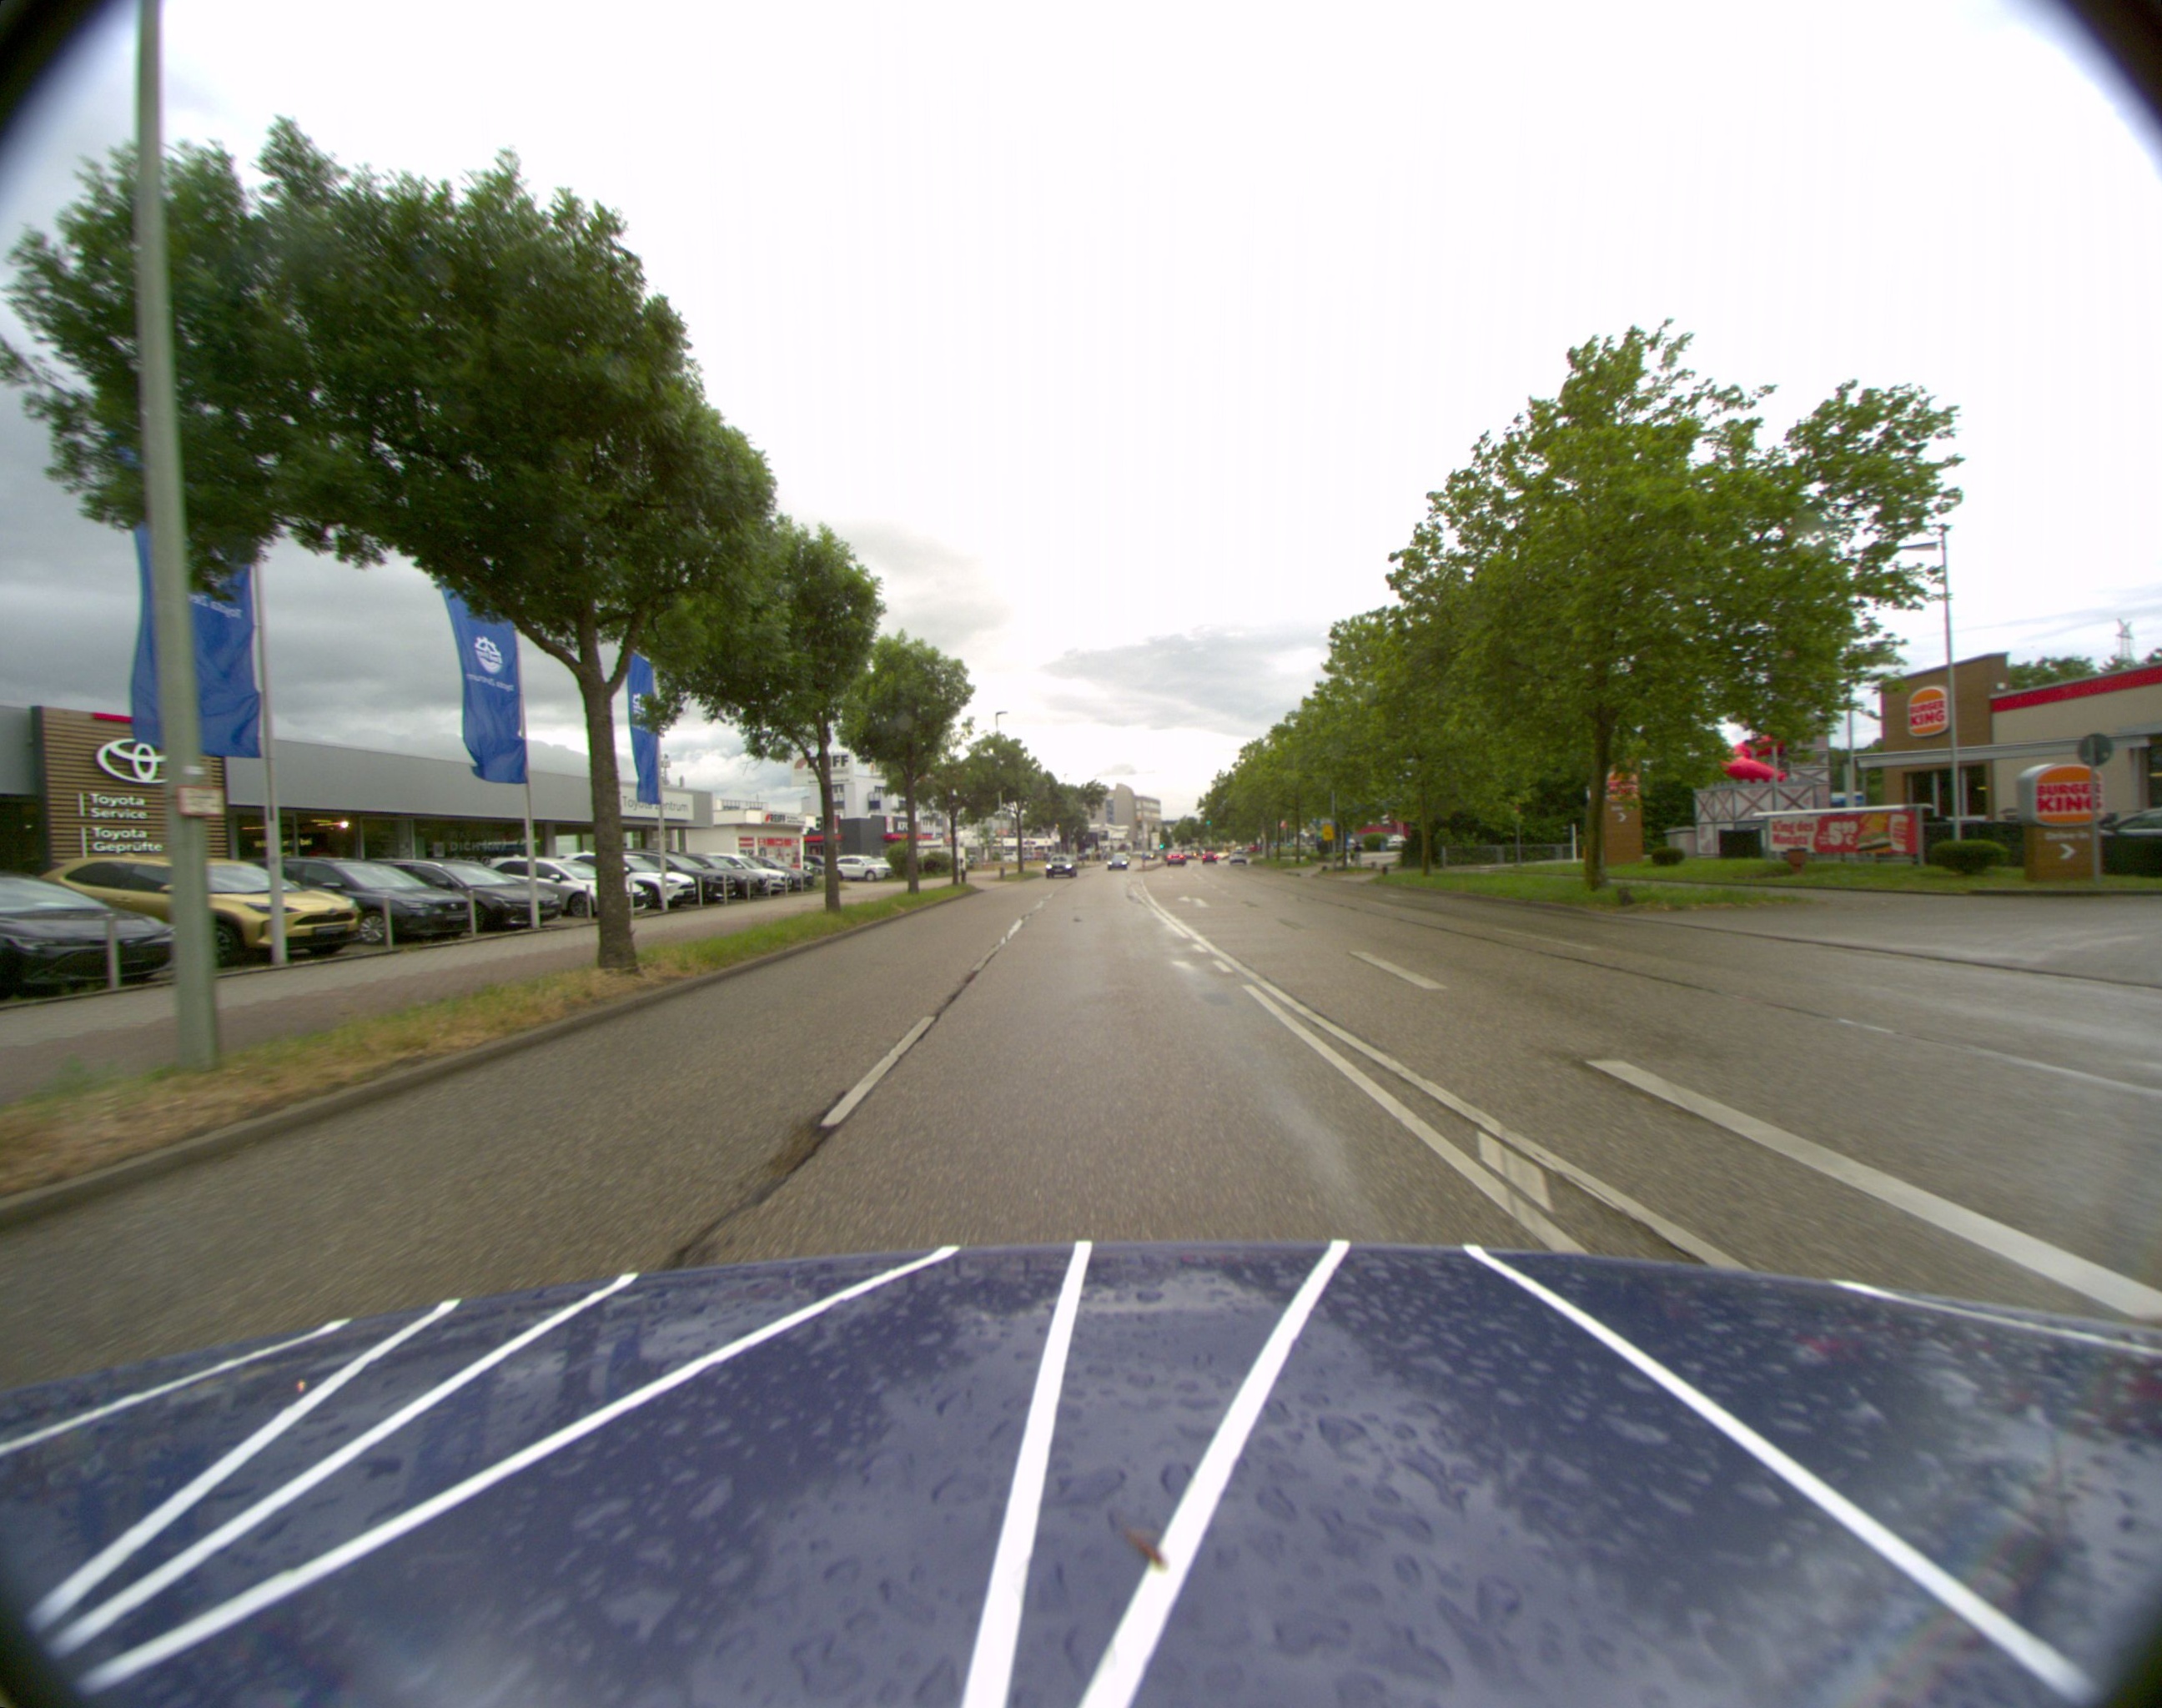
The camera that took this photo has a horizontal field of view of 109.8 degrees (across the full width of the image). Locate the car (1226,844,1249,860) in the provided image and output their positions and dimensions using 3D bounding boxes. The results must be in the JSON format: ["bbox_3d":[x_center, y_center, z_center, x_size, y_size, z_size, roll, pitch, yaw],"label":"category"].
[{"bbox_3d":[17.669,-0.247,85.890,1.932,1.610,4.399,-1,1,5],"label":"car"}]

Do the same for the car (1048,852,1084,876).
[{"bbox_3d":[-1.035,0.664,53.643,1.899,1.544,4.594,-1,0,7],"label":"car"}]

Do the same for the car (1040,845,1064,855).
[{"bbox_3d":[-5.846,-0.817,153.887,4.366,1.895,1.899,-1,1,18],"label":"car"}]

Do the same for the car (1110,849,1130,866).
[{"bbox_3d":[3.788,0.335,74.188,1.800,1.623,4.552,-1,0,2],"label":"car"}]

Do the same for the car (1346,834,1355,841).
[{"bbox_3d":[60.074,-3.681,169.212,1.694,1.636,3.967,-1,0,17],"label":"car"}]

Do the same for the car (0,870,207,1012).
[{"bbox_3d":[-13.811,1.021,9.389,3.996,1.530,1.800,-1,1,2],"label":"car"}]

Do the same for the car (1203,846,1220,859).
[{"bbox_3d":[16.104,-0.171,94.077,1.997,1.499,4.734,-1,-1,9],"label":"car"}]

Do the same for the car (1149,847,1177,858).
[{"bbox_3d":[12.648,-0.254,117.615,3.997,1.532,1.814,-2,2,-1],"label":"car"}]

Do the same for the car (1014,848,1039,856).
[{"bbox_3d":[-10.188,-0.338,141.818,4.366,1.386,1.826,-1,1,18],"label":"car"}]

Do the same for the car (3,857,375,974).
[{"bbox_3d":[-13.794,0.910,11.920,3.848,1.557,1.666,2,1,0],"label":"car"}]

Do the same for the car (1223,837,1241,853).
[{"bbox_3d":[26.304,-1.537,132.193,2.242,2.459,5.022,-3,-1,20],"label":"car"}]

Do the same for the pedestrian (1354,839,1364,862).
[{"bbox_3d":[21.132,-0.259,57.774,0.513,1.673,0.540,-1,1,4],"label":"pedestrian"}]

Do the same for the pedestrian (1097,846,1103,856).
[{"bbox_3d":[3.434,-0.473,134.874,0.817,1.765,0.695,-1,2,-25],"label":"pedestrian"}]

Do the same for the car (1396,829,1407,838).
[{"bbox_3d":[66.142,-4.238,156.884,1.669,1.636,3.967,-1,0,17],"label":"car"}]

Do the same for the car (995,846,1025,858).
[{"bbox_3d":[-12.561,-0.405,134.116,4.777,2.002,2.003,-1,0,19],"label":"car"}]

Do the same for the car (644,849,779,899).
[{"bbox_3d":[-13.408,0.708,27.677,3.995,1.576,1.812,3,1,4],"label":"car"}]

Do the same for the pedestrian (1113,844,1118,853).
[{"bbox_3d":[6.658,-1.077,147.552,0.700,1.701,0.698,-1,1,19],"label":"pedestrian"}]

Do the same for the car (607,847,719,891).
[{"bbox_3d":[-21.559,0.766,39.273,4.664,2.137,1.965,-1,1,2],"label":"car"}]

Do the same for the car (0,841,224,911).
[{"bbox_3d":[-23.413,0.508,18.211,3.996,1.527,1.674,-1,1,4],"label":"car"}]

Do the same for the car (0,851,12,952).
[{"bbox_3d":[-18.348,0.778,10.260,1.878,1.612,4.123,0,1,3],"label":"car"}]

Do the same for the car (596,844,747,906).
[{"bbox_3d":[-13.489,0.655,25.150,3.995,1.776,1.812,3,1,4],"label":"car"}]

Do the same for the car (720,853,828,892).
[{"bbox_3d":[-13.110,0.764,32.609,3.842,1.453,1.828,2,1,2],"label":"car"}]

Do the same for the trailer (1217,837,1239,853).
[{"bbox_3d":[24.750,-1.391,127.831,2.306,2.459,7.983,-3,-1,20],"label":"trailer"}]

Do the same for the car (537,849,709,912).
[{"bbox_3d":[-13.627,0.776,22.780,3.997,1.578,1.812,3,0,1],"label":"car"}]

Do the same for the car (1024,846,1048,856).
[{"bbox_3d":[-8.725,-0.583,147.600,4.366,1.754,1.899,-1,1,18],"label":"car"}]

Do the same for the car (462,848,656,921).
[{"bbox_3d":[-13.779,0.761,20.201,3.995,1.776,1.812,1,1,4],"label":"car"}]

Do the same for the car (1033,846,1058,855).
[{"bbox_3d":[-7.093,-0.707,151.868,4.366,1.754,1.899,-1,1,18],"label":"car"}]

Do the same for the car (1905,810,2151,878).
[{"bbox_3d":[20.023,-0.189,16.182,3.181,1.148,1.291,-4,0,10],"label":"car"}]

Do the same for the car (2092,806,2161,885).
[{"bbox_3d":[20.847,-0.129,13.634,1.436,1.419,3.192,-3,3,10],"label":"car"}]

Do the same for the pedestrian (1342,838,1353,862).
[{"bbox_3d":[20.277,-0.302,57.768,0.665,1.756,0.584,-2,1,25],"label":"pedestrian"}]

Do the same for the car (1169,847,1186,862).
[{"bbox_3d":[10.823,0.081,85.383,1.815,1.553,4.600,-1,1,7],"label":"car"}]

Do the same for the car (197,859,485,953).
[{"bbox_3d":[-13.964,0.928,14.470,3.995,1.538,1.711,2,1,4],"label":"car"}]

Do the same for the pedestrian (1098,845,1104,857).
[{"bbox_3d":[3.418,-0.571,132.833,0.817,2.002,0.696,-1,2,-25],"label":"pedestrian"}]

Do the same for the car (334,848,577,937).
[{"bbox_3d":[-13.745,0.794,16.831,3.995,1.776,1.812,1,1,4],"label":"car"}]

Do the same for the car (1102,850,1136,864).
[{"bbox_3d":[4.840,0.374,96.213,4.007,1.544,1.897,-3,0,-40],"label":"car"}]

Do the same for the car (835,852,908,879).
[{"bbox_3d":[-13.181,0.708,47.876,4.058,1.588,1.988,-1,1,23],"label":"car"}]

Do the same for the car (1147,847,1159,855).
[{"bbox_3d":[13.193,-0.559,138.876,1.752,1.455,4.003,-2,0,13],"label":"car"}]

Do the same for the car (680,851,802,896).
[{"bbox_3d":[-13.456,0.734,30.193,3.995,1.535,1.812,3,1,4],"label":"car"}]

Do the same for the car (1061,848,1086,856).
[{"bbox_3d":[-1.408,-0.408,138.386,4.117,1.386,1.826,-1,1,22],"label":"car"}]
